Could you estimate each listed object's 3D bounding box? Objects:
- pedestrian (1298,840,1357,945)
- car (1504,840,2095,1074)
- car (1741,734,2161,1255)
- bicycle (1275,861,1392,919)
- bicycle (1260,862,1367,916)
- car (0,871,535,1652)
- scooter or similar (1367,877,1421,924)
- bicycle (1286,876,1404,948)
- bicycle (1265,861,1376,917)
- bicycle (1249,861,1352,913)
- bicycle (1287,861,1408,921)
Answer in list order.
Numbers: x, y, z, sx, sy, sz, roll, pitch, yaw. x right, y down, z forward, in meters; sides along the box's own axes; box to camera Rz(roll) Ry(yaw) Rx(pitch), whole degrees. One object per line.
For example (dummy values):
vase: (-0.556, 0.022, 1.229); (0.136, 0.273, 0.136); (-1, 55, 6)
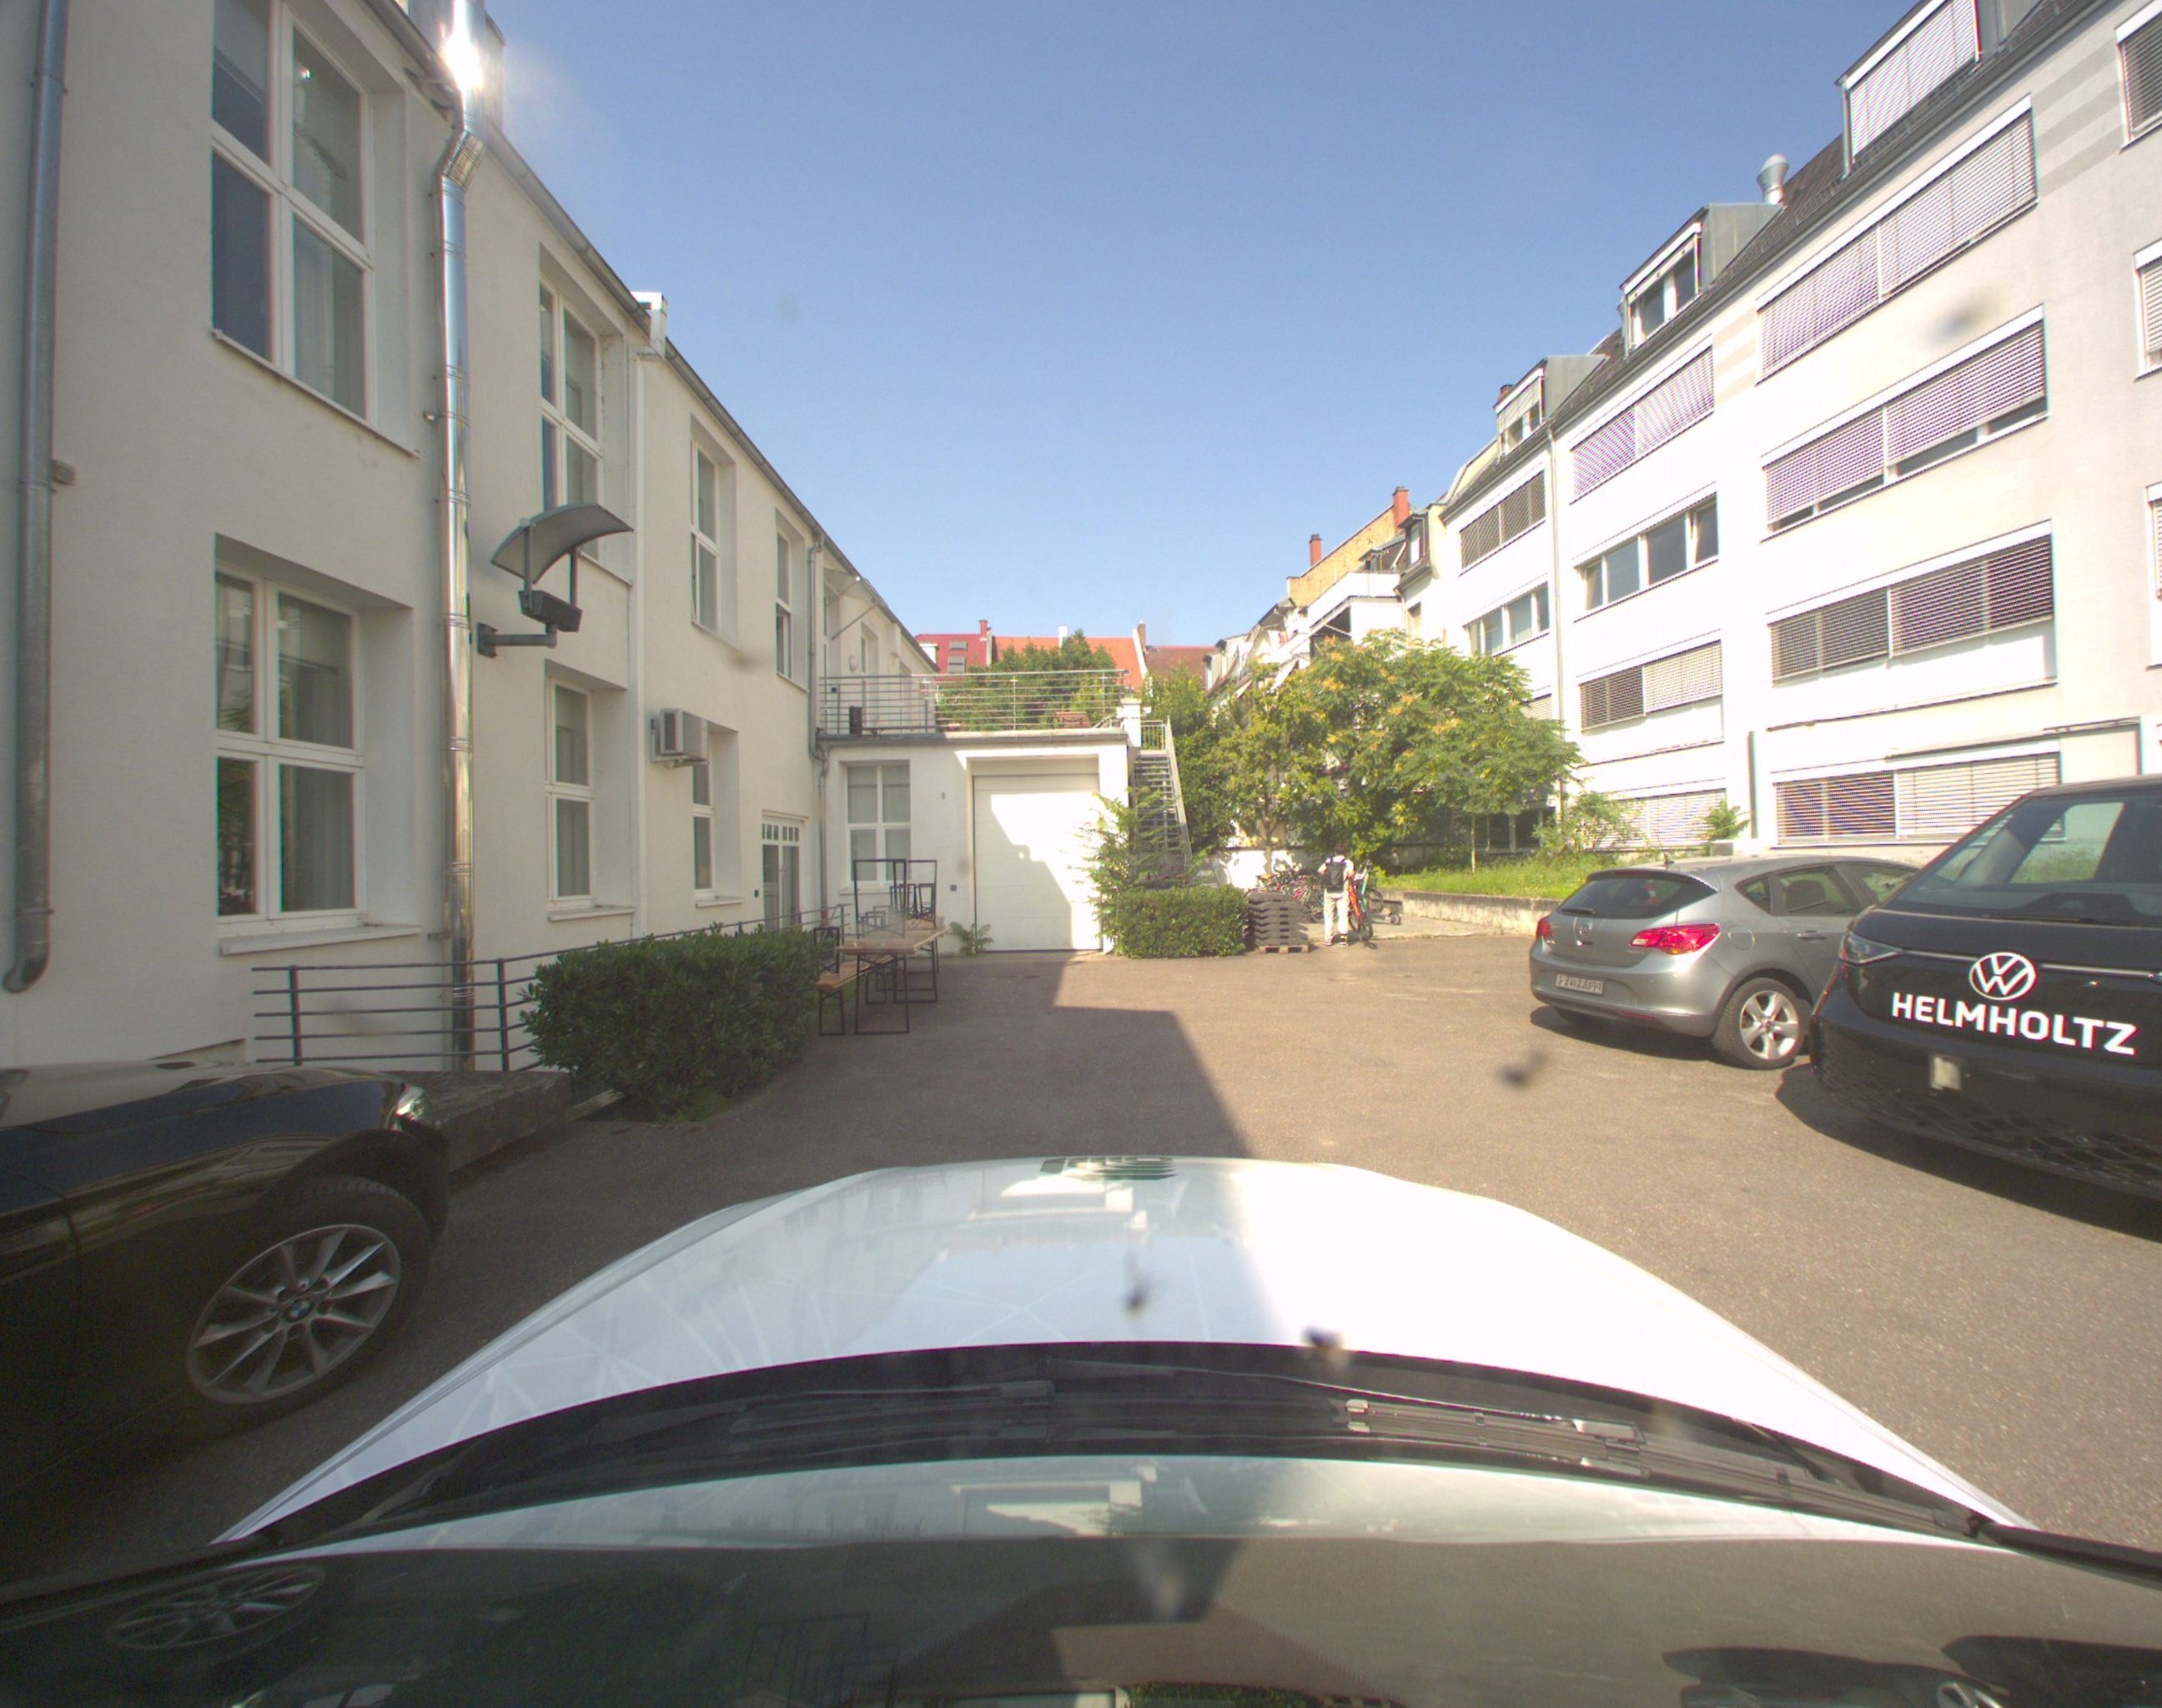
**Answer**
pedestrian: (4.307, 0.649, 14.211); (0.865, 1.772, 0.604); (0, -1, -41)
car: (5.745, 0.686, 6.668); (3.900, 1.466, 1.656); (-2, 0, -13)
car: (5.892, 0.449, 3.835); (4.334, 1.859, 1.909); (-2, 0, -9)
bicycle: (5.567, 0.783, 18.020); (2.403, 1.246, 0.526); (-1, -1, 0)
bicycle: (5.526, 0.820, 19.434); (2.403, 1.246, 0.526); (-1, -1, 0)
car: (-2.891, 0.771, 0.958); (1.788, 1.428, 4.133); (0, 0, -2)
scooter or similar: (6.413, 0.947, 16.733); (0.362, 0.924, 0.988); (0, -1, -37)
bicycle: (4.549, 0.967, 14.162); (0.492, 1.143, 1.970); (-2, 0, -40)
bicycle: (5.512, 0.803, 18.818); (2.403, 1.246, 0.526); (-1, -1, 0)
bicycle: (5.406, 0.801, 20.150); (2.403, 1.246, 0.526); (-1, -1, 0)
bicycle: (5.666, 0.778, 17.361); (2.403, 1.246, 0.526); (-1, -1, 0)
